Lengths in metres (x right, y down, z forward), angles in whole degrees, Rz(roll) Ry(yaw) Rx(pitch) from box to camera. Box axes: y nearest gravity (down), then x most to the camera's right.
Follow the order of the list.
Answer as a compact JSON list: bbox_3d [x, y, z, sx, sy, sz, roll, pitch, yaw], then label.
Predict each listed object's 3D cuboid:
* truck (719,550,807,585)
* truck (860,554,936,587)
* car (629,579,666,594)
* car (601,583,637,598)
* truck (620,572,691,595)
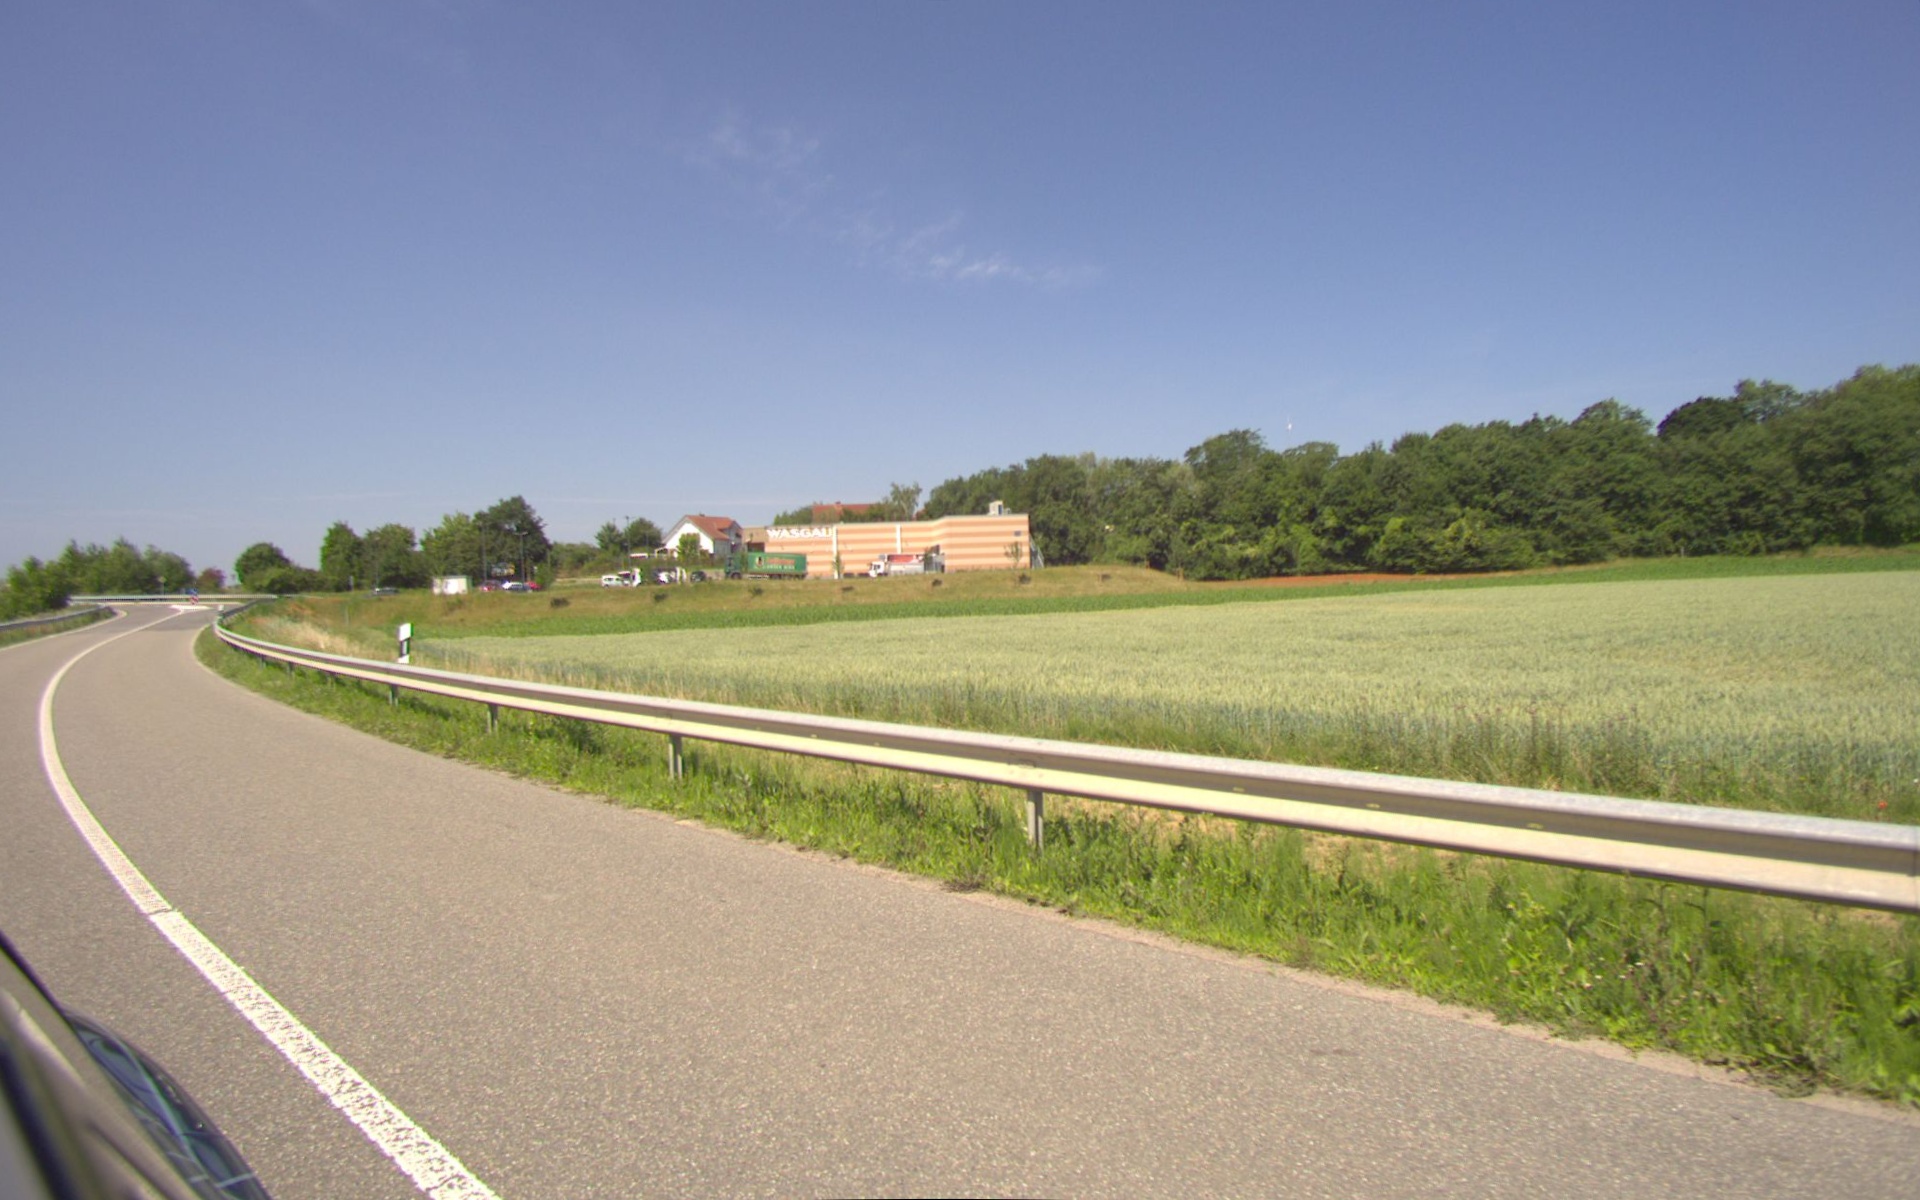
[{"bbox_3d":[-22.667,-3.780,116.978,9.786,3.502,2.884,-3,3,-7],"label":"truck"},{"bbox_3d":[-7.573,-3.679,123.503,8.738,3.590,2.886,-3,3,-11],"label":"truck"},{"bbox_3d":[-39.444,-1.733,127.990,4.262,1.716,2.006,-3,3,-13],"label":"car"},{"bbox_3d":[-45.469,-1.281,134.967,4.261,1.609,2.006,-3,3,-14],"label":"car"},{"bbox_3d":[-48.750,-2.685,162.232,10.537,3.214,2.455,-4,3,-27],"label":"truck"}]
